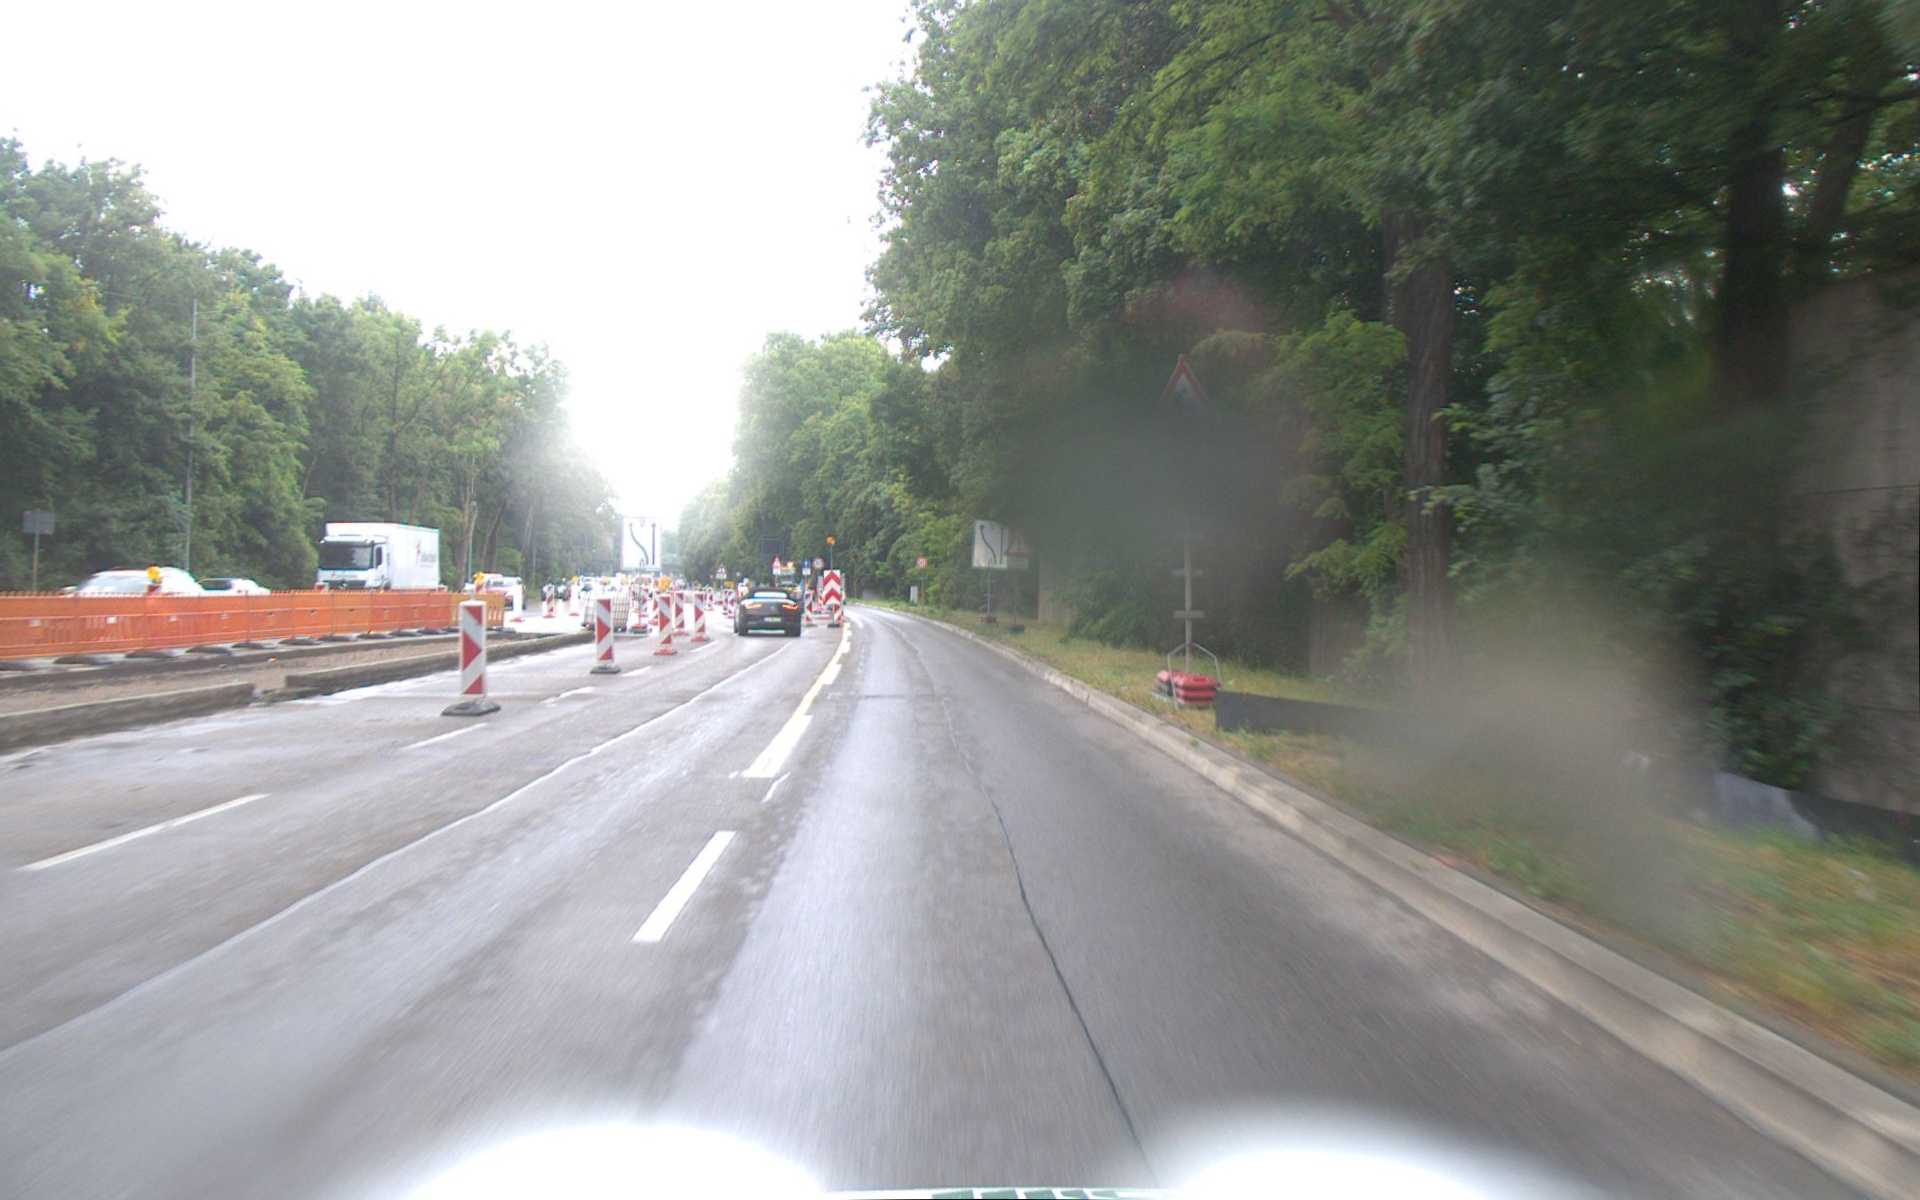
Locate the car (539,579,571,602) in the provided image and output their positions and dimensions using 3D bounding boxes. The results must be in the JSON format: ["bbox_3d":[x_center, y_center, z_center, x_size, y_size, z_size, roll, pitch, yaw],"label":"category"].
[{"bbox_3d":[-30.197,-0.695,123.281,1.603,1.676,4.196,0,1,-4],"label":"car"}]

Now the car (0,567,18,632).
[{"bbox_3d":[-22.344,-0.007,35.796,1.755,1.450,3.895,1,1,-2],"label":"car"}]

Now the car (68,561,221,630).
[{"bbox_3d":[-19.700,-0.126,40.161,1.798,1.577,4.039,1,1,-2],"label":"car"}]

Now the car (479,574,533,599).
[{"bbox_3d":[-22.128,-0.664,80.808,1.573,1.172,4.281,1,1,-2],"label":"car"}]

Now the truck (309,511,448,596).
[{"bbox_3d":[-23.808,-1.824,68.360,2.740,3.203,10.140,1,0,-4],"label":"truck"}]

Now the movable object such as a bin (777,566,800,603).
[{"bbox_3d":[-13.656,-1.237,131.575,1.714,2.917,3.528,0,1,-8],"label":"movable object such as a bin"}]

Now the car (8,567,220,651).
[{"bbox_3d":[-16.394,0.129,32.340,1.818,1.512,4.678,1,1,-1],"label":"car"}]

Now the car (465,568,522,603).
[{"bbox_3d":[-25.400,-0.789,90.244,1.807,1.753,4.718,-3,1,-2],"label":"car"}]

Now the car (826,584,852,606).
[{"bbox_3d":[-9.666,-0.395,131.421,1.877,1.625,4.828,1,1,-6],"label":"car"}]

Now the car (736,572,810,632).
[{"bbox_3d":[-5.555,0.013,49.491,1.824,1.517,4.000,2,3,-2],"label":"car"}]

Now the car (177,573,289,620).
[{"bbox_3d":[-23.062,-0.129,52.630,1.773,1.403,4.367,1,1,-2],"label":"car"}]
